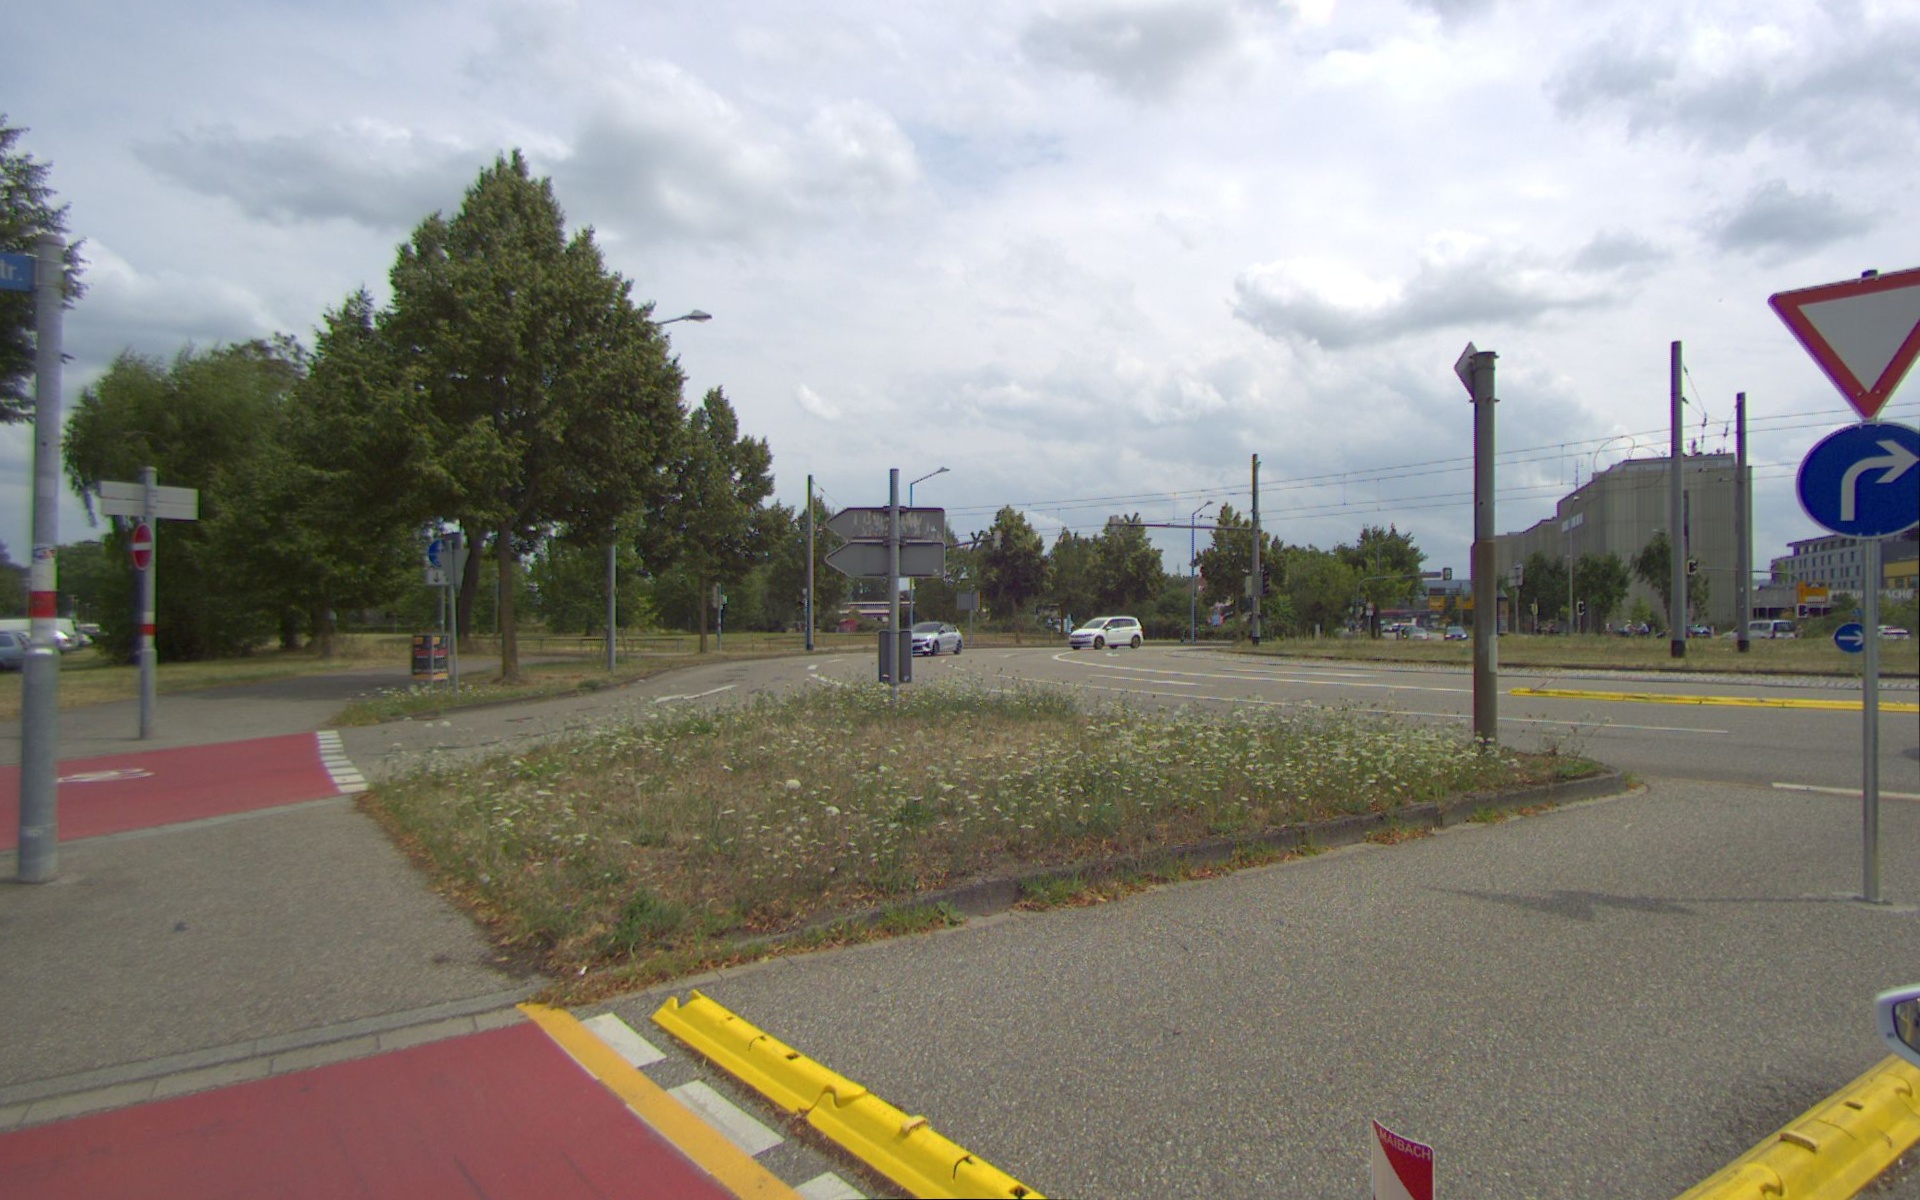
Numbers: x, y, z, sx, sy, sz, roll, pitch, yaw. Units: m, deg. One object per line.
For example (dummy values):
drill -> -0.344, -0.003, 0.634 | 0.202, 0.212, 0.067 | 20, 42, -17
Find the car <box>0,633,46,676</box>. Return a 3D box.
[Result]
car -> -35.407, 1.919, 35.188 | 4.847, 1.491, 1.812 | 1, -1, -39

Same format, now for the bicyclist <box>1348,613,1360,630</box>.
bicyclist -> 32.243, 1.743, 82.258 | 0.660, 1.428, 0.864 | 0, -1, 4

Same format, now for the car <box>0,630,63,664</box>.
car -> -44.605, 2.175, 46.636 | 4.275, 1.491, 1.812 | 1, -1, -39

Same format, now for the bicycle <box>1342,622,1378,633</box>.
bicycle -> 32.732, 2.268, 82.201 | 2.605, 0.866, 0.864 | 0, -1, 4

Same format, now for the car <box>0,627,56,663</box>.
car -> -41.422, 1.897, 42.694 | 4.350, 1.491, 1.812 | 1, -1, -39

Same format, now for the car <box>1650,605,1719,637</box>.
car -> 48.250, 1.405, 66.996 | 1.960, 2.040, 4.002 | 2, -1, 5

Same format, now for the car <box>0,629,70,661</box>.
car -> -46.184, 2.185, 48.808 | 4.275, 1.491, 1.812 | 1, -1, -39

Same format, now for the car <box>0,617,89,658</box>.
car -> -49.364, 1.943, 52.669 | 5.527, 2.083, 2.175 | 1, -1, -41

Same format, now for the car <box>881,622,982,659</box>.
car -> -1.143, 1.696, 43.246 | 1.964, 1.502, 5.175 | 0, -1, 29

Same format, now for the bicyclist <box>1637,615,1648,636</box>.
bicyclist -> 52.942, 1.991, 77.922 | 0.641, 1.579, 0.528 | -1, -1, 40

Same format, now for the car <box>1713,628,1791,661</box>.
car -> 52.670, 2.928, 66.912 | 1.960, 2.040, 4.364 | 2, -1, 5

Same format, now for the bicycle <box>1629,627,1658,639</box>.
bicycle -> 52.998, 2.561, 77.900 | 1.807, 0.889, 0.528 | -1, -1, 40

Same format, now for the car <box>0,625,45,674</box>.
car -> -31.886, 1.625, 31.474 | 4.671, 1.491, 1.811 | -2, 1, -42

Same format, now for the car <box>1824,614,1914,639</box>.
car -> 57.460, 1.662, 63.570 | 1.800, 1.483, 3.995 | 2, -1, -8

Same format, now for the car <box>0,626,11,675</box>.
car -> -30.100, 1.556, 29.698 | 1.464, 1.442, 2.898 | -2, 0, 44

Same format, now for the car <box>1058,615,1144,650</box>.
car -> 7.351, 1.687, 52.213 | 4.312, 1.687, 1.919 | -1, -2, -36

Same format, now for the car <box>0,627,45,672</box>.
car -> -33.827, 1.664, 33.416 | 4.847, 1.491, 1.812 | 1, -1, -39
